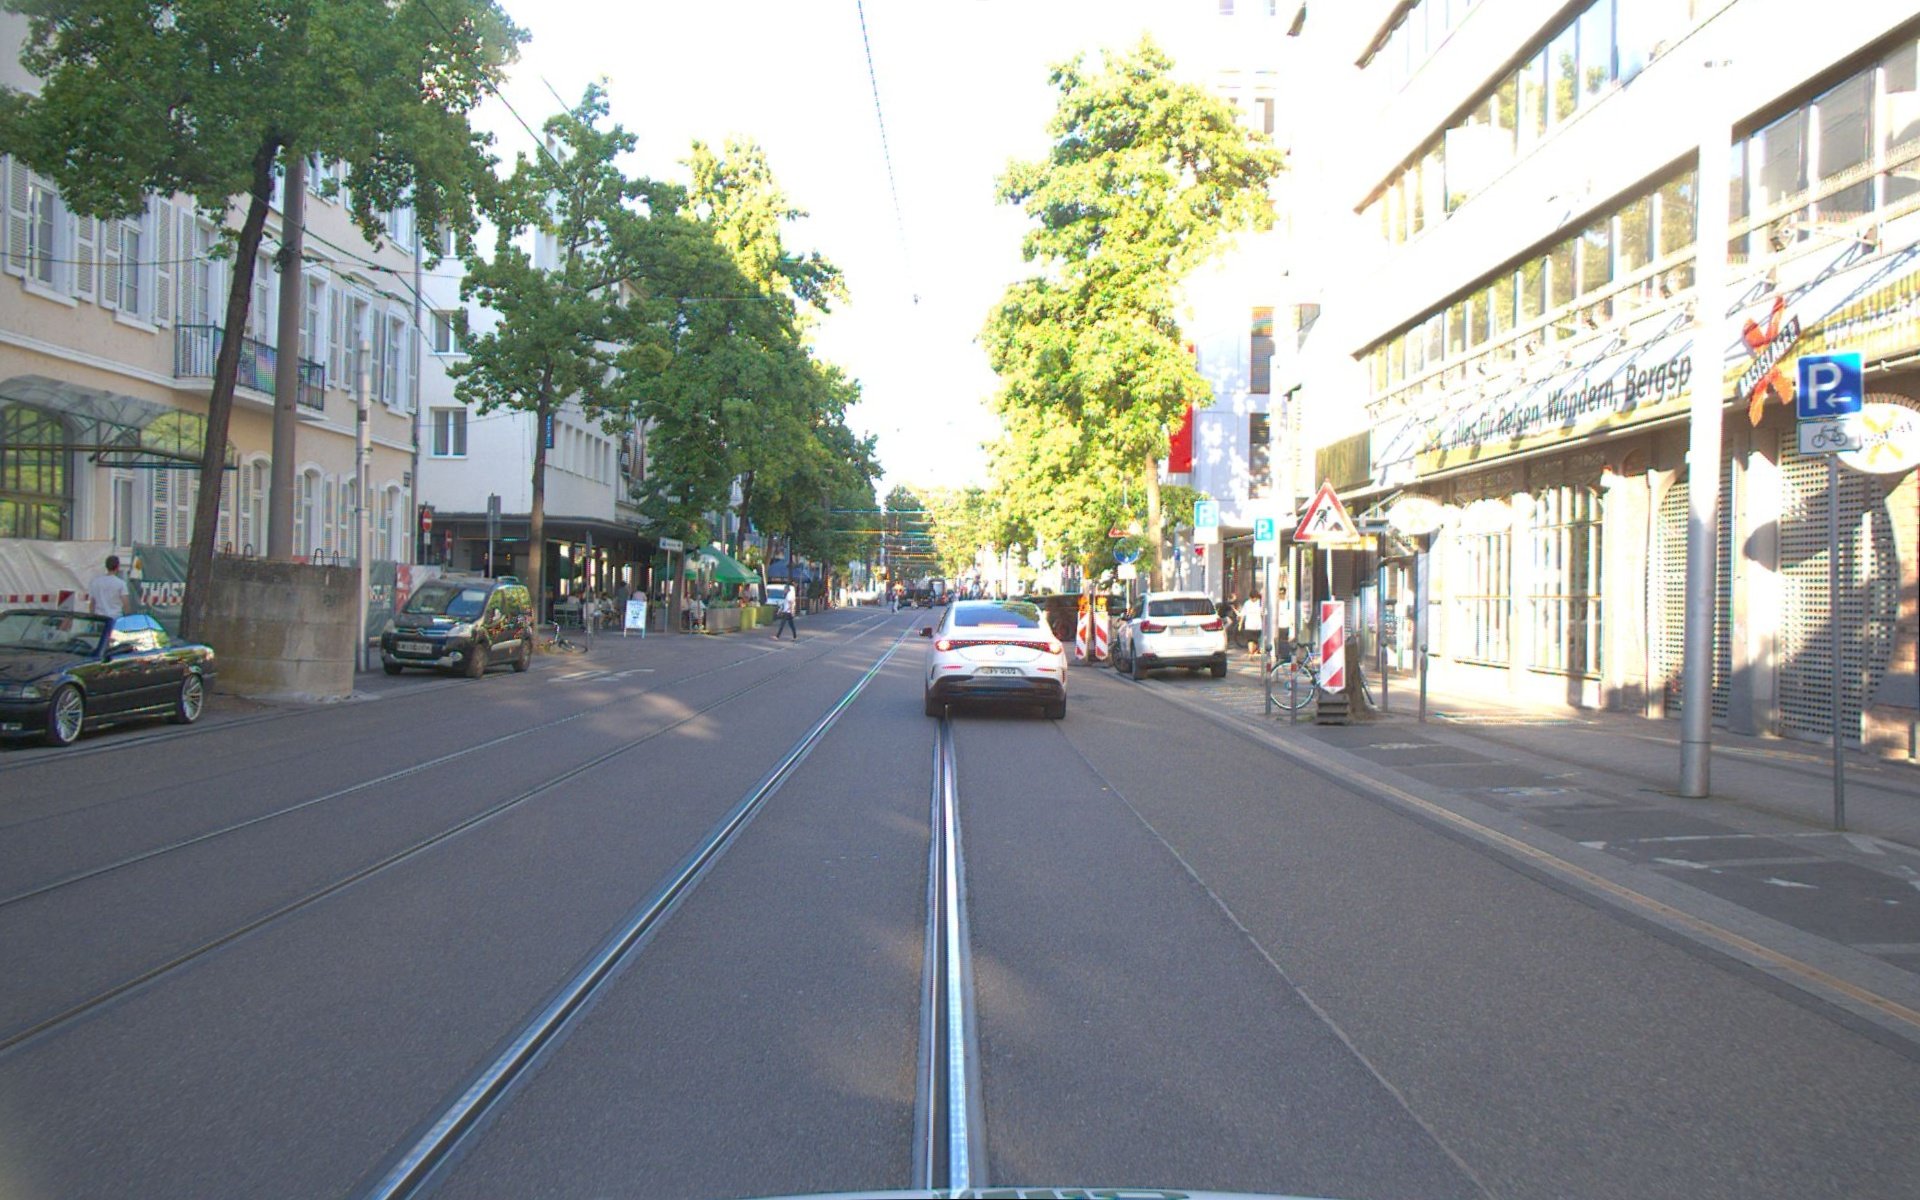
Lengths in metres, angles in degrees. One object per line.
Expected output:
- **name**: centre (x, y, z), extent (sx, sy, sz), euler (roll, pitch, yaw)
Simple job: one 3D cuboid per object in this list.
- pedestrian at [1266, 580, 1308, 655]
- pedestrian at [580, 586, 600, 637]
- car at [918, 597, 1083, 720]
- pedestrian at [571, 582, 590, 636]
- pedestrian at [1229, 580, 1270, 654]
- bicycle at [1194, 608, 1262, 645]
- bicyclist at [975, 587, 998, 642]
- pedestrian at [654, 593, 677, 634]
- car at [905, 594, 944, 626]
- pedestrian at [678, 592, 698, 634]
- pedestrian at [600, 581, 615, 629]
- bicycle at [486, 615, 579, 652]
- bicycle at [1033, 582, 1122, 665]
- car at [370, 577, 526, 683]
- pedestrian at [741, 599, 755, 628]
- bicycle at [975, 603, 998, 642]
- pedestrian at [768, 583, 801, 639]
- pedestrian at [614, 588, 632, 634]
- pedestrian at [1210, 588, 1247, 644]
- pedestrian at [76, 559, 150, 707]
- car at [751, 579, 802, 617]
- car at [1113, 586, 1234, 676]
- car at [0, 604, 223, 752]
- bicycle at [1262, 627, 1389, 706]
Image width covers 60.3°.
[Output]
- **pedestrian**: centre (7.999, 0.421, 40.512), extent (0.785, 1.805, 0.680), euler (1, 0, -13)
- **pedestrian**: centre (-12.386, 0.381, 55.410), extent (0.506, 1.681, 0.650), euler (1, 0, -2)
- **car**: centre (0.451, 0.724, 22.151), extent (1.831, 1.494, 4.039), euler (0, 0, -4)
- **pedestrian**: centre (-13.288, 0.304, 57.964), extent (0.506, 1.888, 0.650), euler (1, 0, -1)
- **pedestrian**: centre (7.097, 0.417, 40.566), extent (0.785, 1.805, 0.680), euler (1, 0, -13)
- **bicycle**: centre (8.737, 0.856, 53.909), extent (2.014, 1.155, 0.870), euler (1, 0, -15)
- **bicyclist**: centre (0.848, 0.459, 52.702), extent (0.710, 1.732, 0.811), euler (1, 0, 0)
- **pedestrian**: centre (-10.691, 0.493, 60.068), extent (0.557, 1.489, 0.650), euler (1, 0, 18)
- **car**: centre (-3.647, 1.030, 171.264), extent (3.957, 3.169, 8.429), euler (0, 0, -1)
- **pedestrian**: centre (-10.116, 0.484, 61.562), extent (0.511, 1.504, 0.644), euler (-2, -1, -28)
- **pedestrian**: centre (-13.378, 0.178, 62.762), extent (0.507, 1.812, 0.608), euler (1, 0, -7)
- **bicycle**: centre (-10.501, 0.820, 40.644), extent (2.206, 0.845, 0.717), euler (1, 0, 22)
- **bicycle**: centre (3.004, 0.587, 42.991), extent (1.953, 2.049, 3.999), euler (0, 0, -1)
- **car**: centre (-9.350, 0.509, 30.423), extent (1.519, 1.827, 3.170), euler (1, 0, 8)
- **pedestrian**: centre (-9.169, 0.578, 71.524), extent (0.506, 1.255, 0.650), euler (0, 0, 1)
- **bicycle**: centre (0.843, 0.714, 52.788), extent (0.725, 1.209, 2.160), euler (0, 0, 0)
- **pedestrian**: centre (-5.665, 0.346, 53.351), extent (0.904, 1.805, 0.870), euler (1, 0, -15)
- **pedestrian**: centre (-12.297, 0.393, 60.333), extent (0.506, 1.644, 0.650), euler (1, 0, -2)
- **pedestrian**: centre (8.740, 0.522, 53.925), extent (0.904, 1.805, 0.870), euler (1, 0, -15)
- **pedestrian**: centre (-11.817, 0.450, 23.101), extent (0.693, 2.039, 0.675), euler (0, 0, -4)
- **car**: centre (-10.269, -0.131, 92.852), extent (1.951, 2.049, 4.003), euler (0, 0, 7)
- **car**: centre (4.385, 0.605, 34.590), extent (1.953, 1.758, 4.240), euler (0, 0, 0)
- **car**: centre (-9.601, 0.732, 17.365), extent (1.953, 1.314, 3.999), euler (1, 0, -1)
- **bicycle**: centre (5.179, 0.939, 23.490), extent (1.686, 1.080, 0.581), euler (0, 0, 2)
